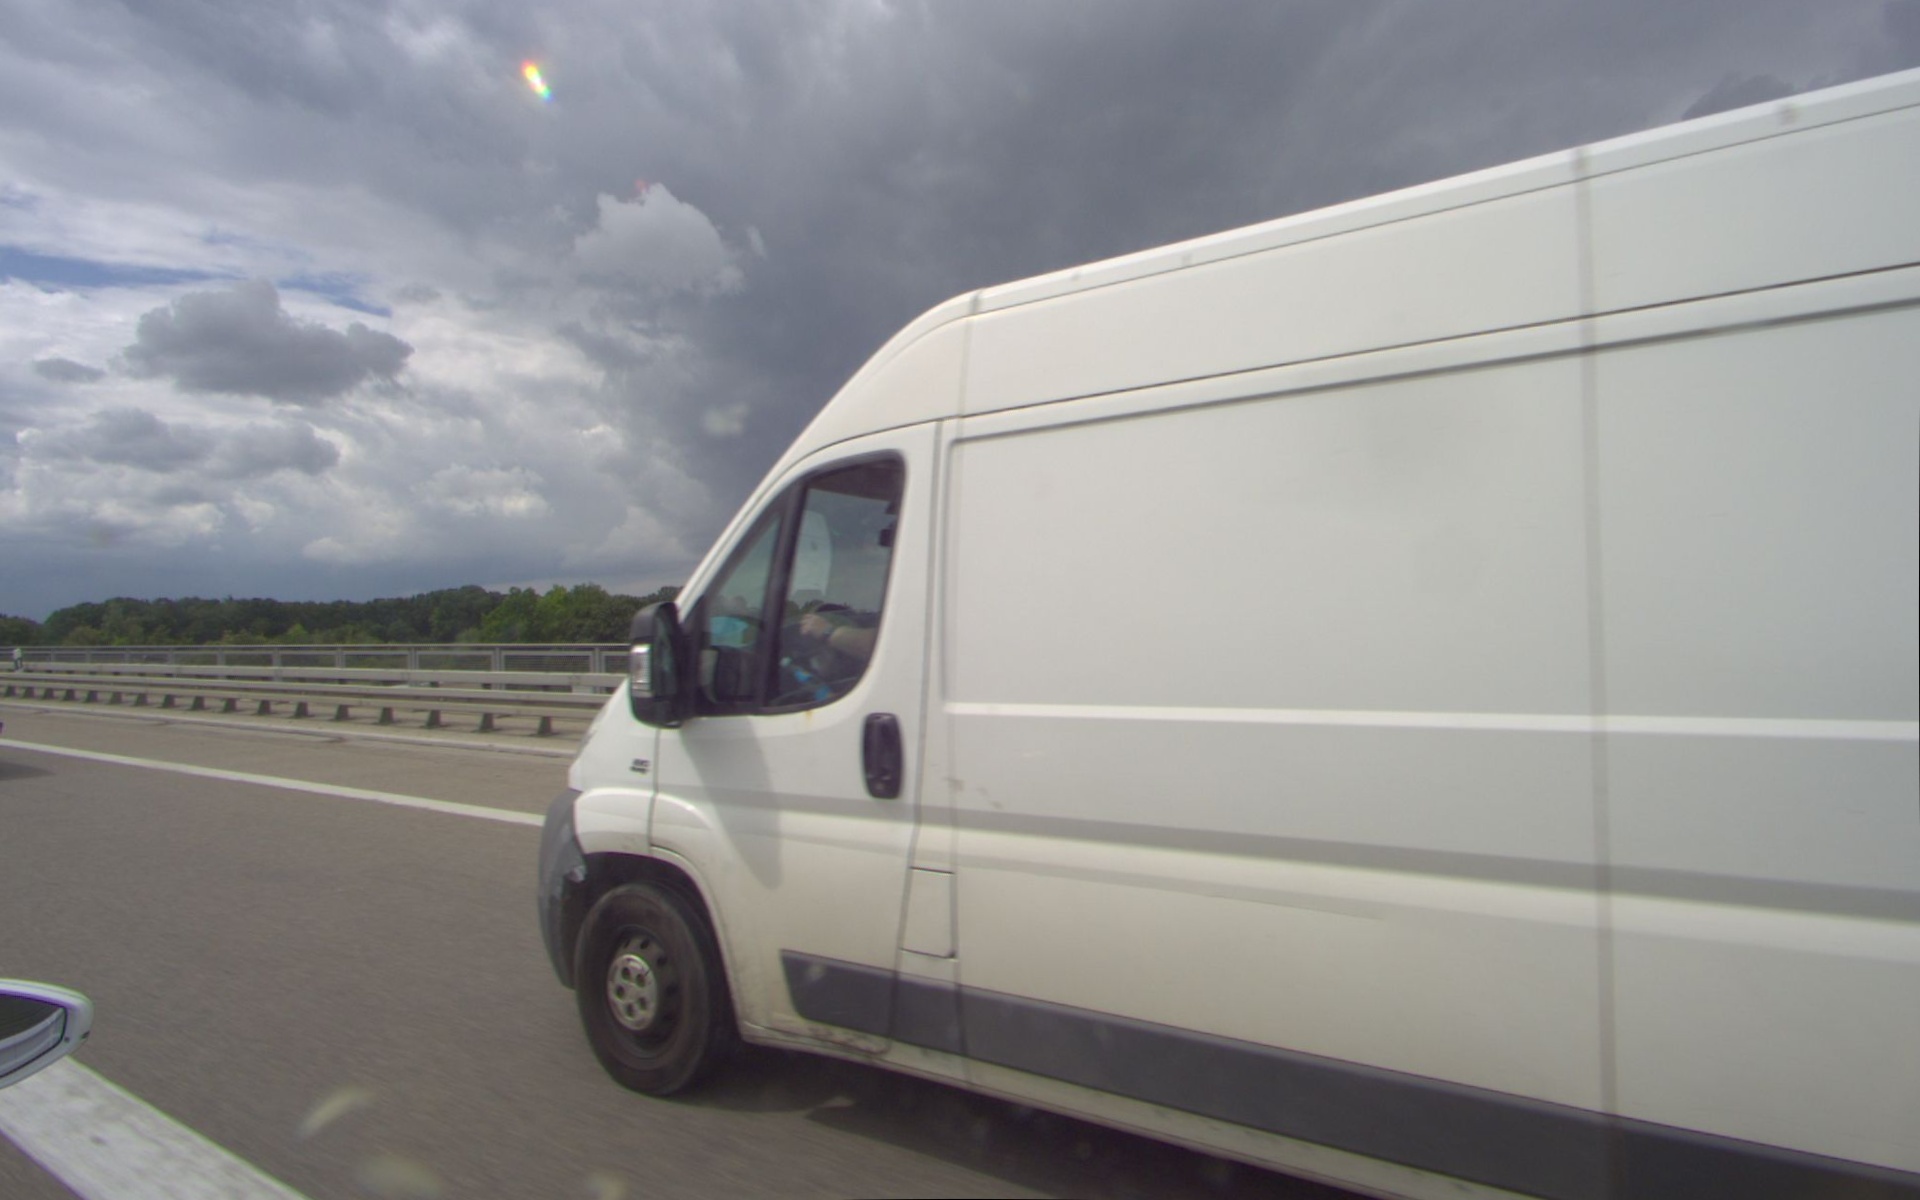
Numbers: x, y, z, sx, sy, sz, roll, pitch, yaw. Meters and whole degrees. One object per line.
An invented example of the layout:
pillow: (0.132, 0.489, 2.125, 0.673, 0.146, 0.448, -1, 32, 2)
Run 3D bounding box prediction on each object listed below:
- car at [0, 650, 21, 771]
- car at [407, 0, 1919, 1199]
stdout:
car: (-12.539, 1.217, 11.454, 4.306, 1.297, 1.700, -1, -2, 34)
car: (0.978, 0.287, 3.119, 6.065, 2.485, 2.110, -1, -2, 33)
